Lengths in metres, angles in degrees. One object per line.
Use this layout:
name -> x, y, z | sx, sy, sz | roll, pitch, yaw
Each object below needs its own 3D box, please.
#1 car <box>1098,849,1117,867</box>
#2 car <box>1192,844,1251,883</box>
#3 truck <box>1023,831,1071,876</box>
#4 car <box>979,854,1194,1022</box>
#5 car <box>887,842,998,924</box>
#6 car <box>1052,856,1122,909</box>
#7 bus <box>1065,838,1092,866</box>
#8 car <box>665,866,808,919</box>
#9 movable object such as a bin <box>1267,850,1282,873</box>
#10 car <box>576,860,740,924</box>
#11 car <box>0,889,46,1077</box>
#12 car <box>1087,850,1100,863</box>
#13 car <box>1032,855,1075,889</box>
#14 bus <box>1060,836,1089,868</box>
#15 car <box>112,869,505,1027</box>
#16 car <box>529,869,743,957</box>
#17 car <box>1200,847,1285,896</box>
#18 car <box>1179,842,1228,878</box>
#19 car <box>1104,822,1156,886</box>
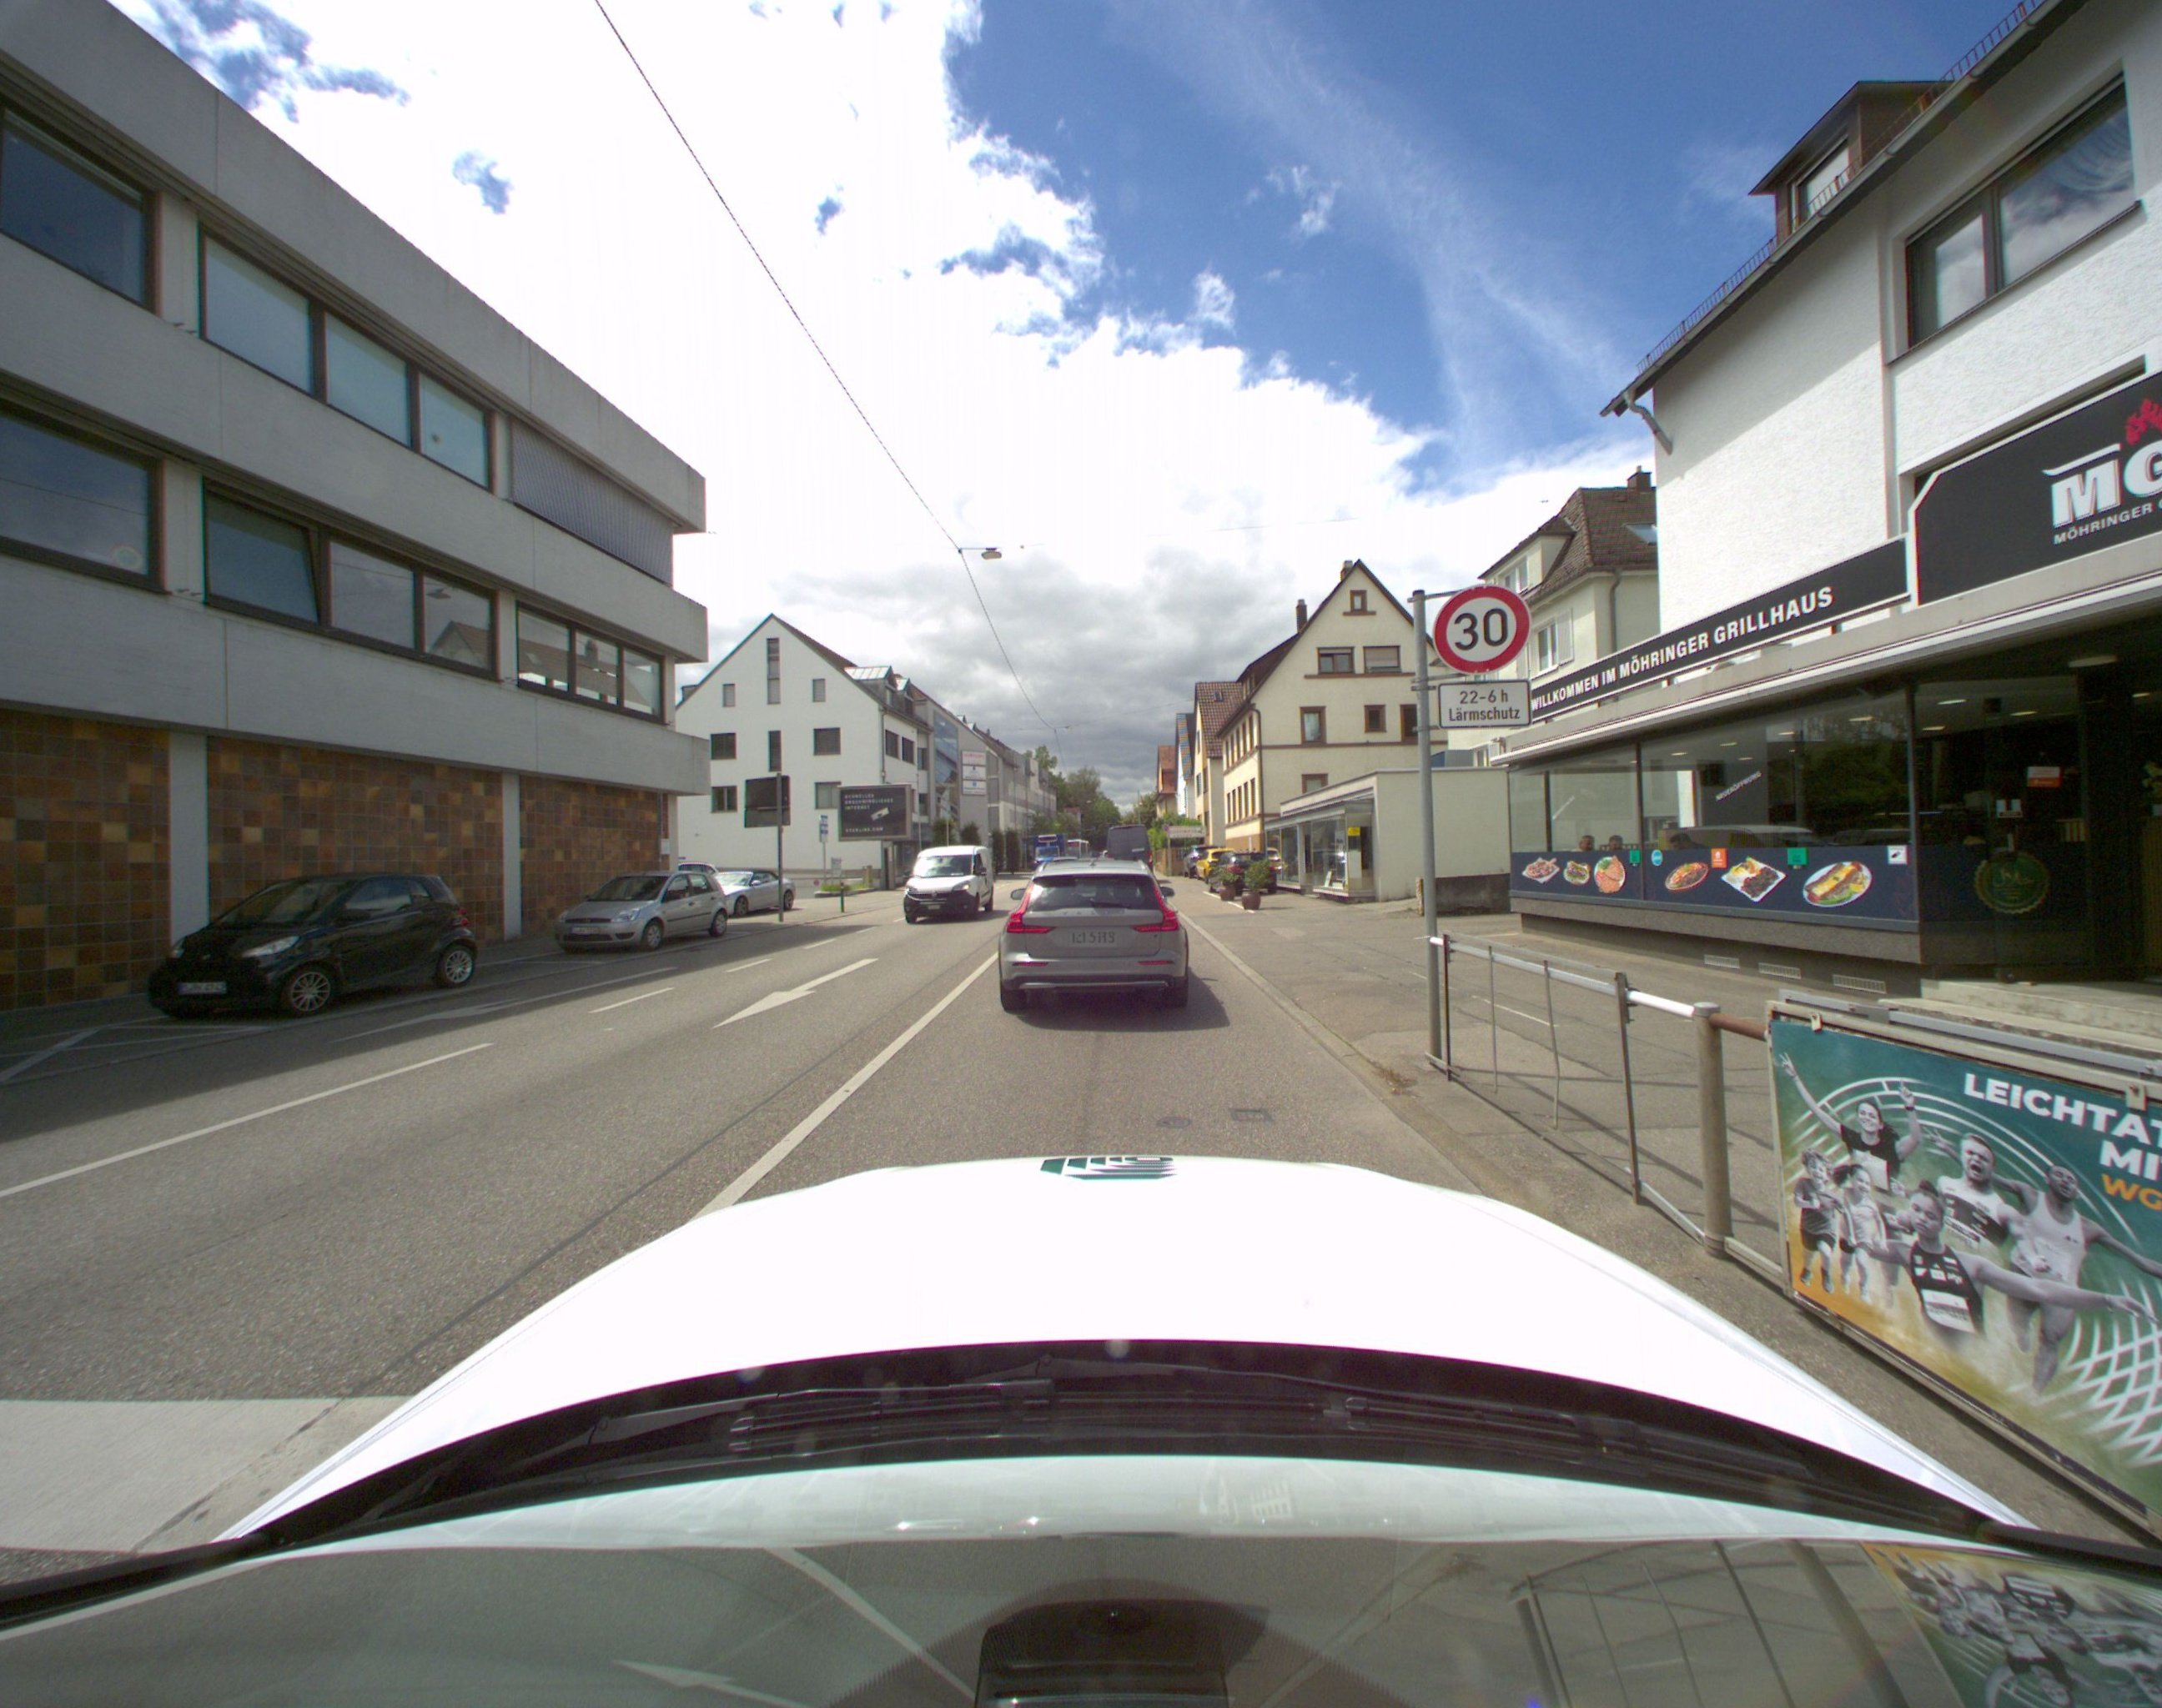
car -> 3.075, 0.426, 92.998 | 1.985, 2.013, 4.004 | -1, 0, 4
car -> 6.163, 0.380, 36.177 | 1.871, 1.447, 4.307 | -2, 2, 0
truck -> -2.492, -0.052, 62.282 | 2.842, 3.093, 8.094 | -2, 0, 3
car -> 0.180, 0.745, 9.192 | 1.888, 1.453, 3.973 | -1, 0, 4
car -> -3.414, 0.671, 20.917 | 1.938, 1.821, 4.280 | -2, 0, 2
car -> 0.270, 0.800, 24.890 | 1.888, 1.446, 3.972 | -1, 0, 3
bus -> -0.271, -0.209, 97.255 | 2.705, 3.163, 8.074 | -2, 0, 3
car -> -10.495, 1.129, 25.301 | 1.941, 1.358, 4.864 | -2, 0, 6
movable object such as a bin -> 8.095, 0.312, 34.077 | 0.498, 0.925, 0.599 | -2, 0, 6
car -> -13.095, 1.103, 25.675 | 1.940, 1.619, 4.941 | -4, 0, 8
car -> -9.577, 1.023, 4.158 | 2.034, 1.444, 4.960 | -1, 0, 5
car -> 2.162, 0.413, 137.049 | 2.097, 2.121, 4.767 | -2, 0, 2
car -> -1.239, 0.811, 38.487 | 1.890, 1.446, 3.967 | -1, 0, 0
bus -> -0.594, -0.215, 88.098 | 2.672, 3.163, 10.187 | -2, 0, 1
car -> -9.051, 0.999, 9.913 | 1.728, 1.556, 3.061 | -1, 0, 5
car -> -8.615, 1.070, 16.248 | 1.714, 1.422, 4.153 | -1, 0, 4
car -> 5.376, 0.535, 27.680 | 1.962, 1.447, 4.535 | -2, 0, 0
car -> 6.090, 0.274, 40.971 | 1.854, 1.612, 4.587 | -3, 0, 1
car -> 2.324, -0.010, 39.305 | 2.244, 2.795, 5.572 | -2, 0, 2
